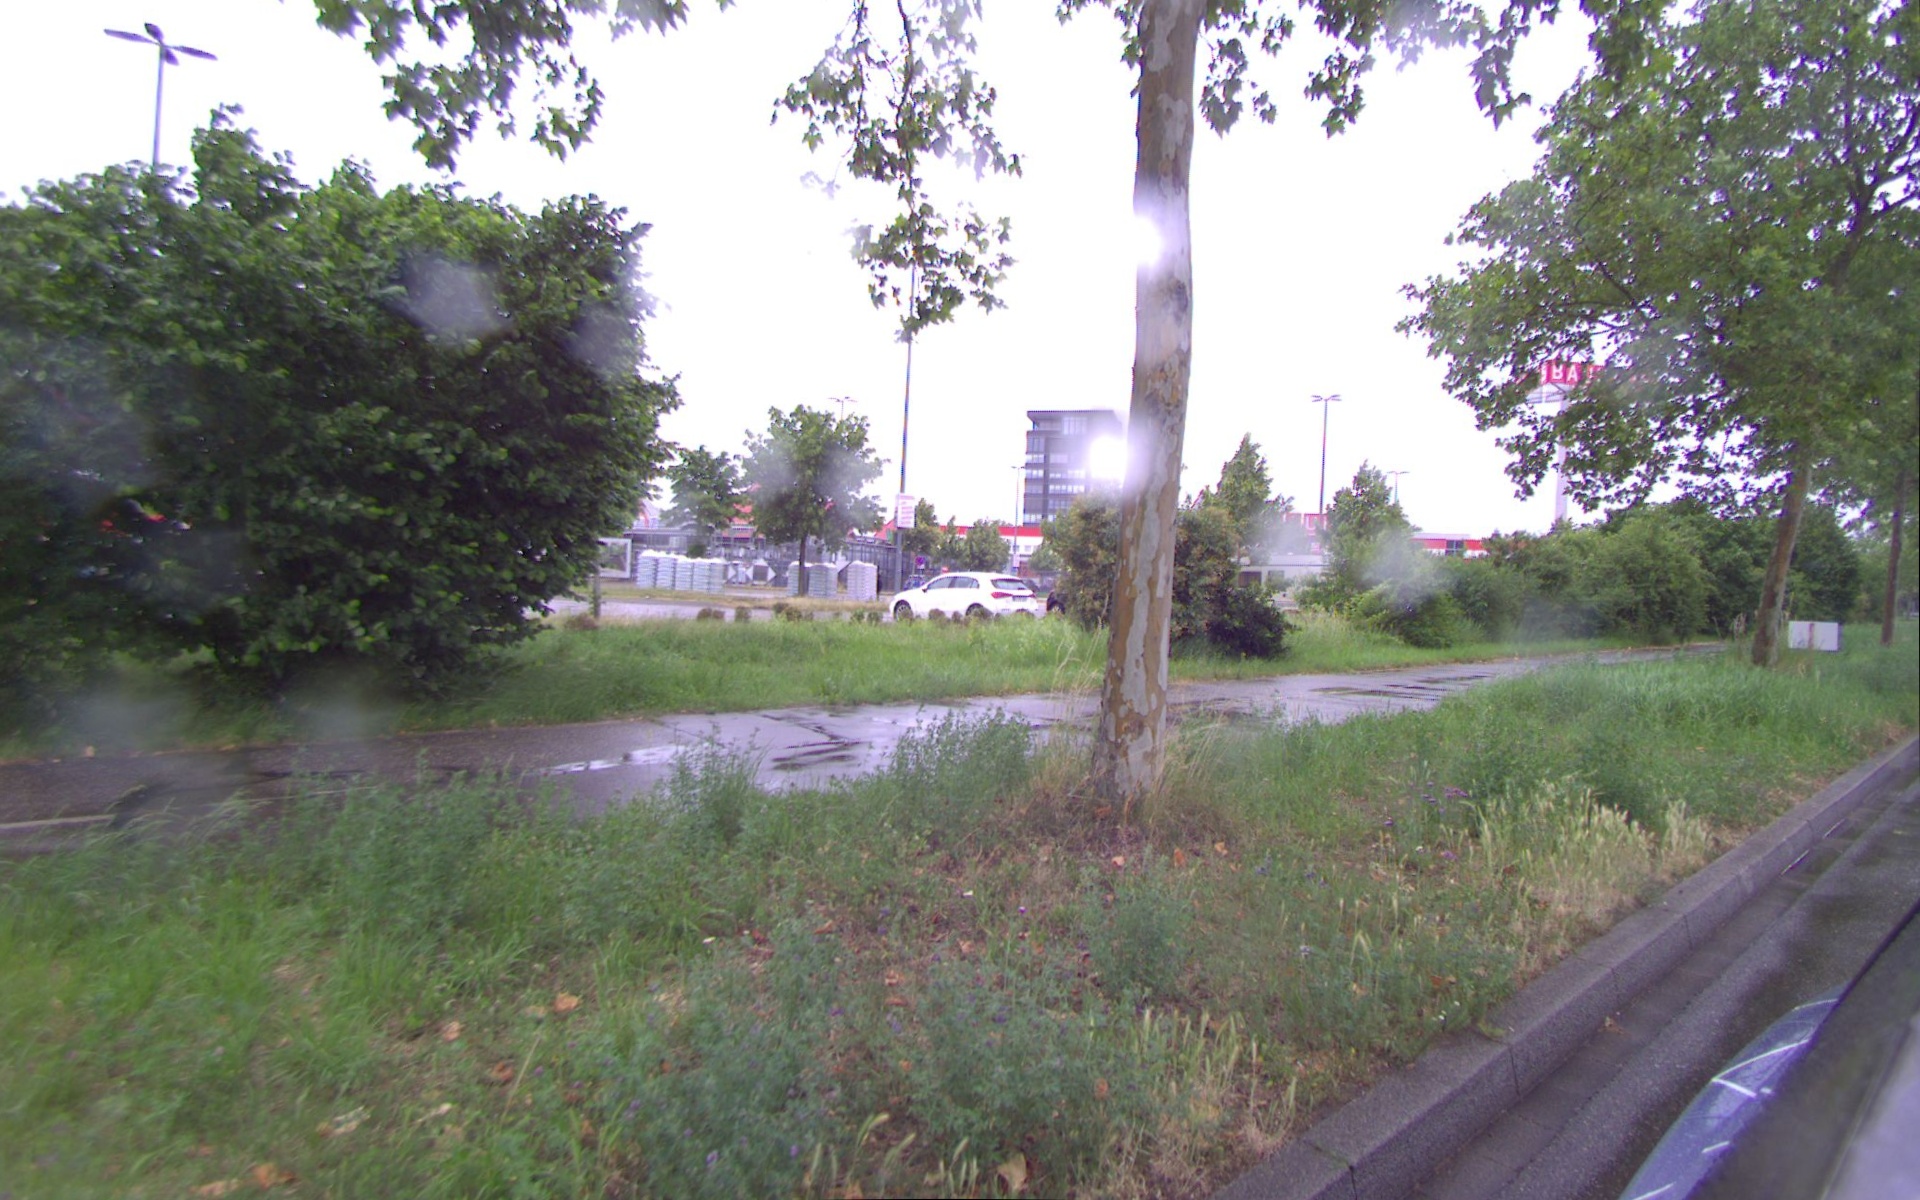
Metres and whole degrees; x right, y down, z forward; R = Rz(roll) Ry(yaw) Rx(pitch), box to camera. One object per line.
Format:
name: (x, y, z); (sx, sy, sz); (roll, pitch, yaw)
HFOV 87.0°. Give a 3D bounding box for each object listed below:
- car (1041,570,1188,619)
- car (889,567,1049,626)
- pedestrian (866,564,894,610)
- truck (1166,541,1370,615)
car: (4.556, -0.190, 30.215); (1.967, 1.382, 3.990); (-1, 1, -44)
car: (0.164, -0.113, 25.810); (1.838, 1.382, 3.990); (-1, 1, -44)
pedestrian: (-3.164, -0.509, 39.998); (0.786, 1.810, 0.702); (1, 1, -45)
truck: (10.576, -0.753, 35.186); (6.530, 2.333, 2.186); (1, 1, 43)
